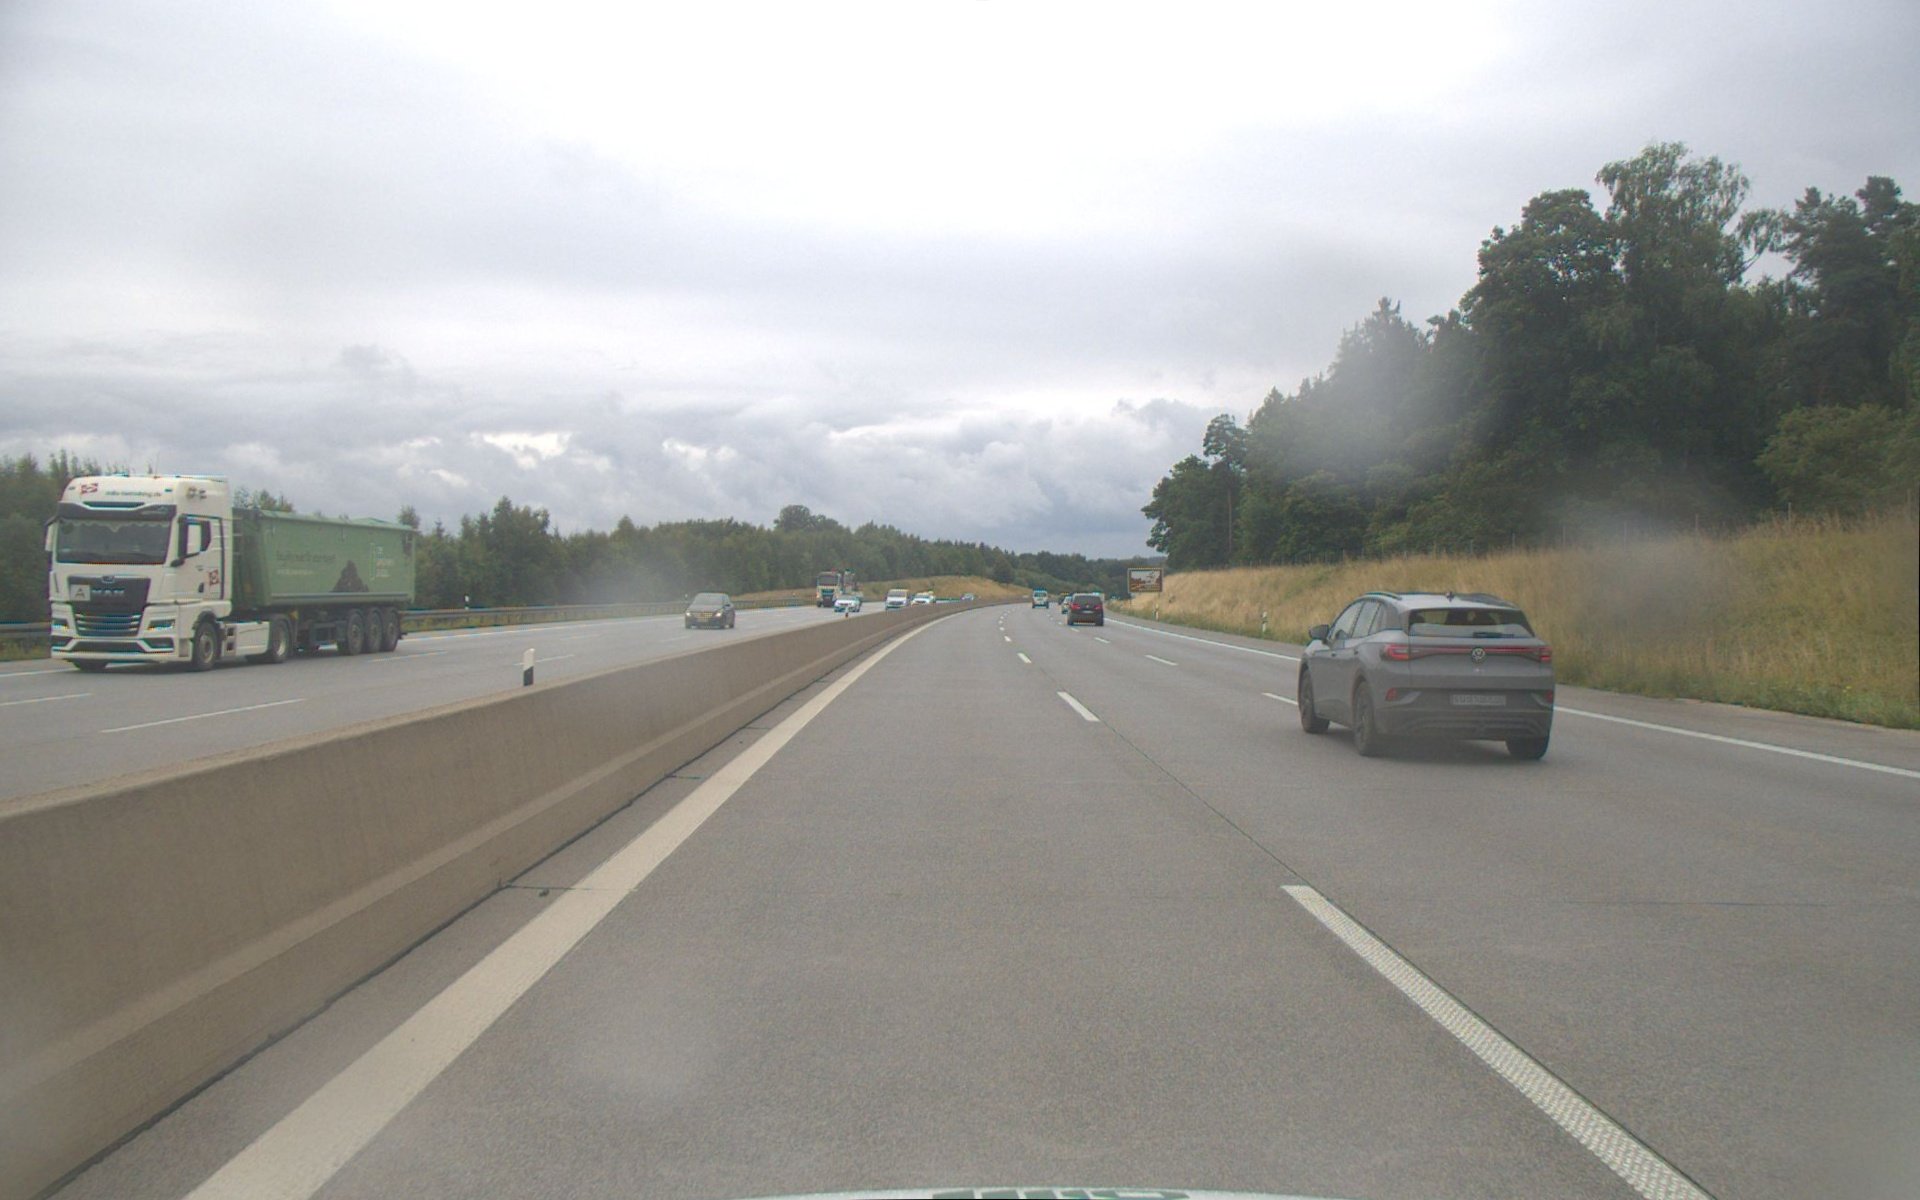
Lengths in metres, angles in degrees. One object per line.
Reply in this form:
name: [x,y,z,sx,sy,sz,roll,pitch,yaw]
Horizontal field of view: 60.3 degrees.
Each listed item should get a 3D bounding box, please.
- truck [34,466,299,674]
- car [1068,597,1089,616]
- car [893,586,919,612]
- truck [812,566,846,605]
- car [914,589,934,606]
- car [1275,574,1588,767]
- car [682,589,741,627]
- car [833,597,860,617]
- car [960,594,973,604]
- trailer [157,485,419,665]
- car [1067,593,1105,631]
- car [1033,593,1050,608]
truck: [-15.984,-0.547,33.785,2.694,3.869,5.530,1,0,0]
car: [10.202,0.545,142.605,1.763,1.490,3.813,1,2,3]
car: [-4.625,-0.125,142.134,1.952,2.048,5.526,2,1,1]
truck: [-12.914,-1.441,163.689,2.532,3.716,7.662,0,0,1]
car: [-3.578,-0.267,165.134,1.679,1.445,4.215,3,2,2]
car: [4.845,0.611,17.880,1.859,1.719,5.266,1,1,0]
car: [-11.245,0.342,75.083,1.953,1.617,4.771,1,0,0]
car: [-9.278,0.545,135.713,1.701,1.391,4.099,3,2,2]
car: [0.951,-0.182,241.544,1.726,1.289,4.493,-1,-2,0]
trailer: [-16.032,-0.577,40.389,2.693,3.866,9.315,0,0,-1]
car: [6.738,0.619,88.728,1.748,1.777,3.916,-2,1,2]
car: [9.264,0.043,188.608,1.803,1.526,4.003,-2,2,4]
